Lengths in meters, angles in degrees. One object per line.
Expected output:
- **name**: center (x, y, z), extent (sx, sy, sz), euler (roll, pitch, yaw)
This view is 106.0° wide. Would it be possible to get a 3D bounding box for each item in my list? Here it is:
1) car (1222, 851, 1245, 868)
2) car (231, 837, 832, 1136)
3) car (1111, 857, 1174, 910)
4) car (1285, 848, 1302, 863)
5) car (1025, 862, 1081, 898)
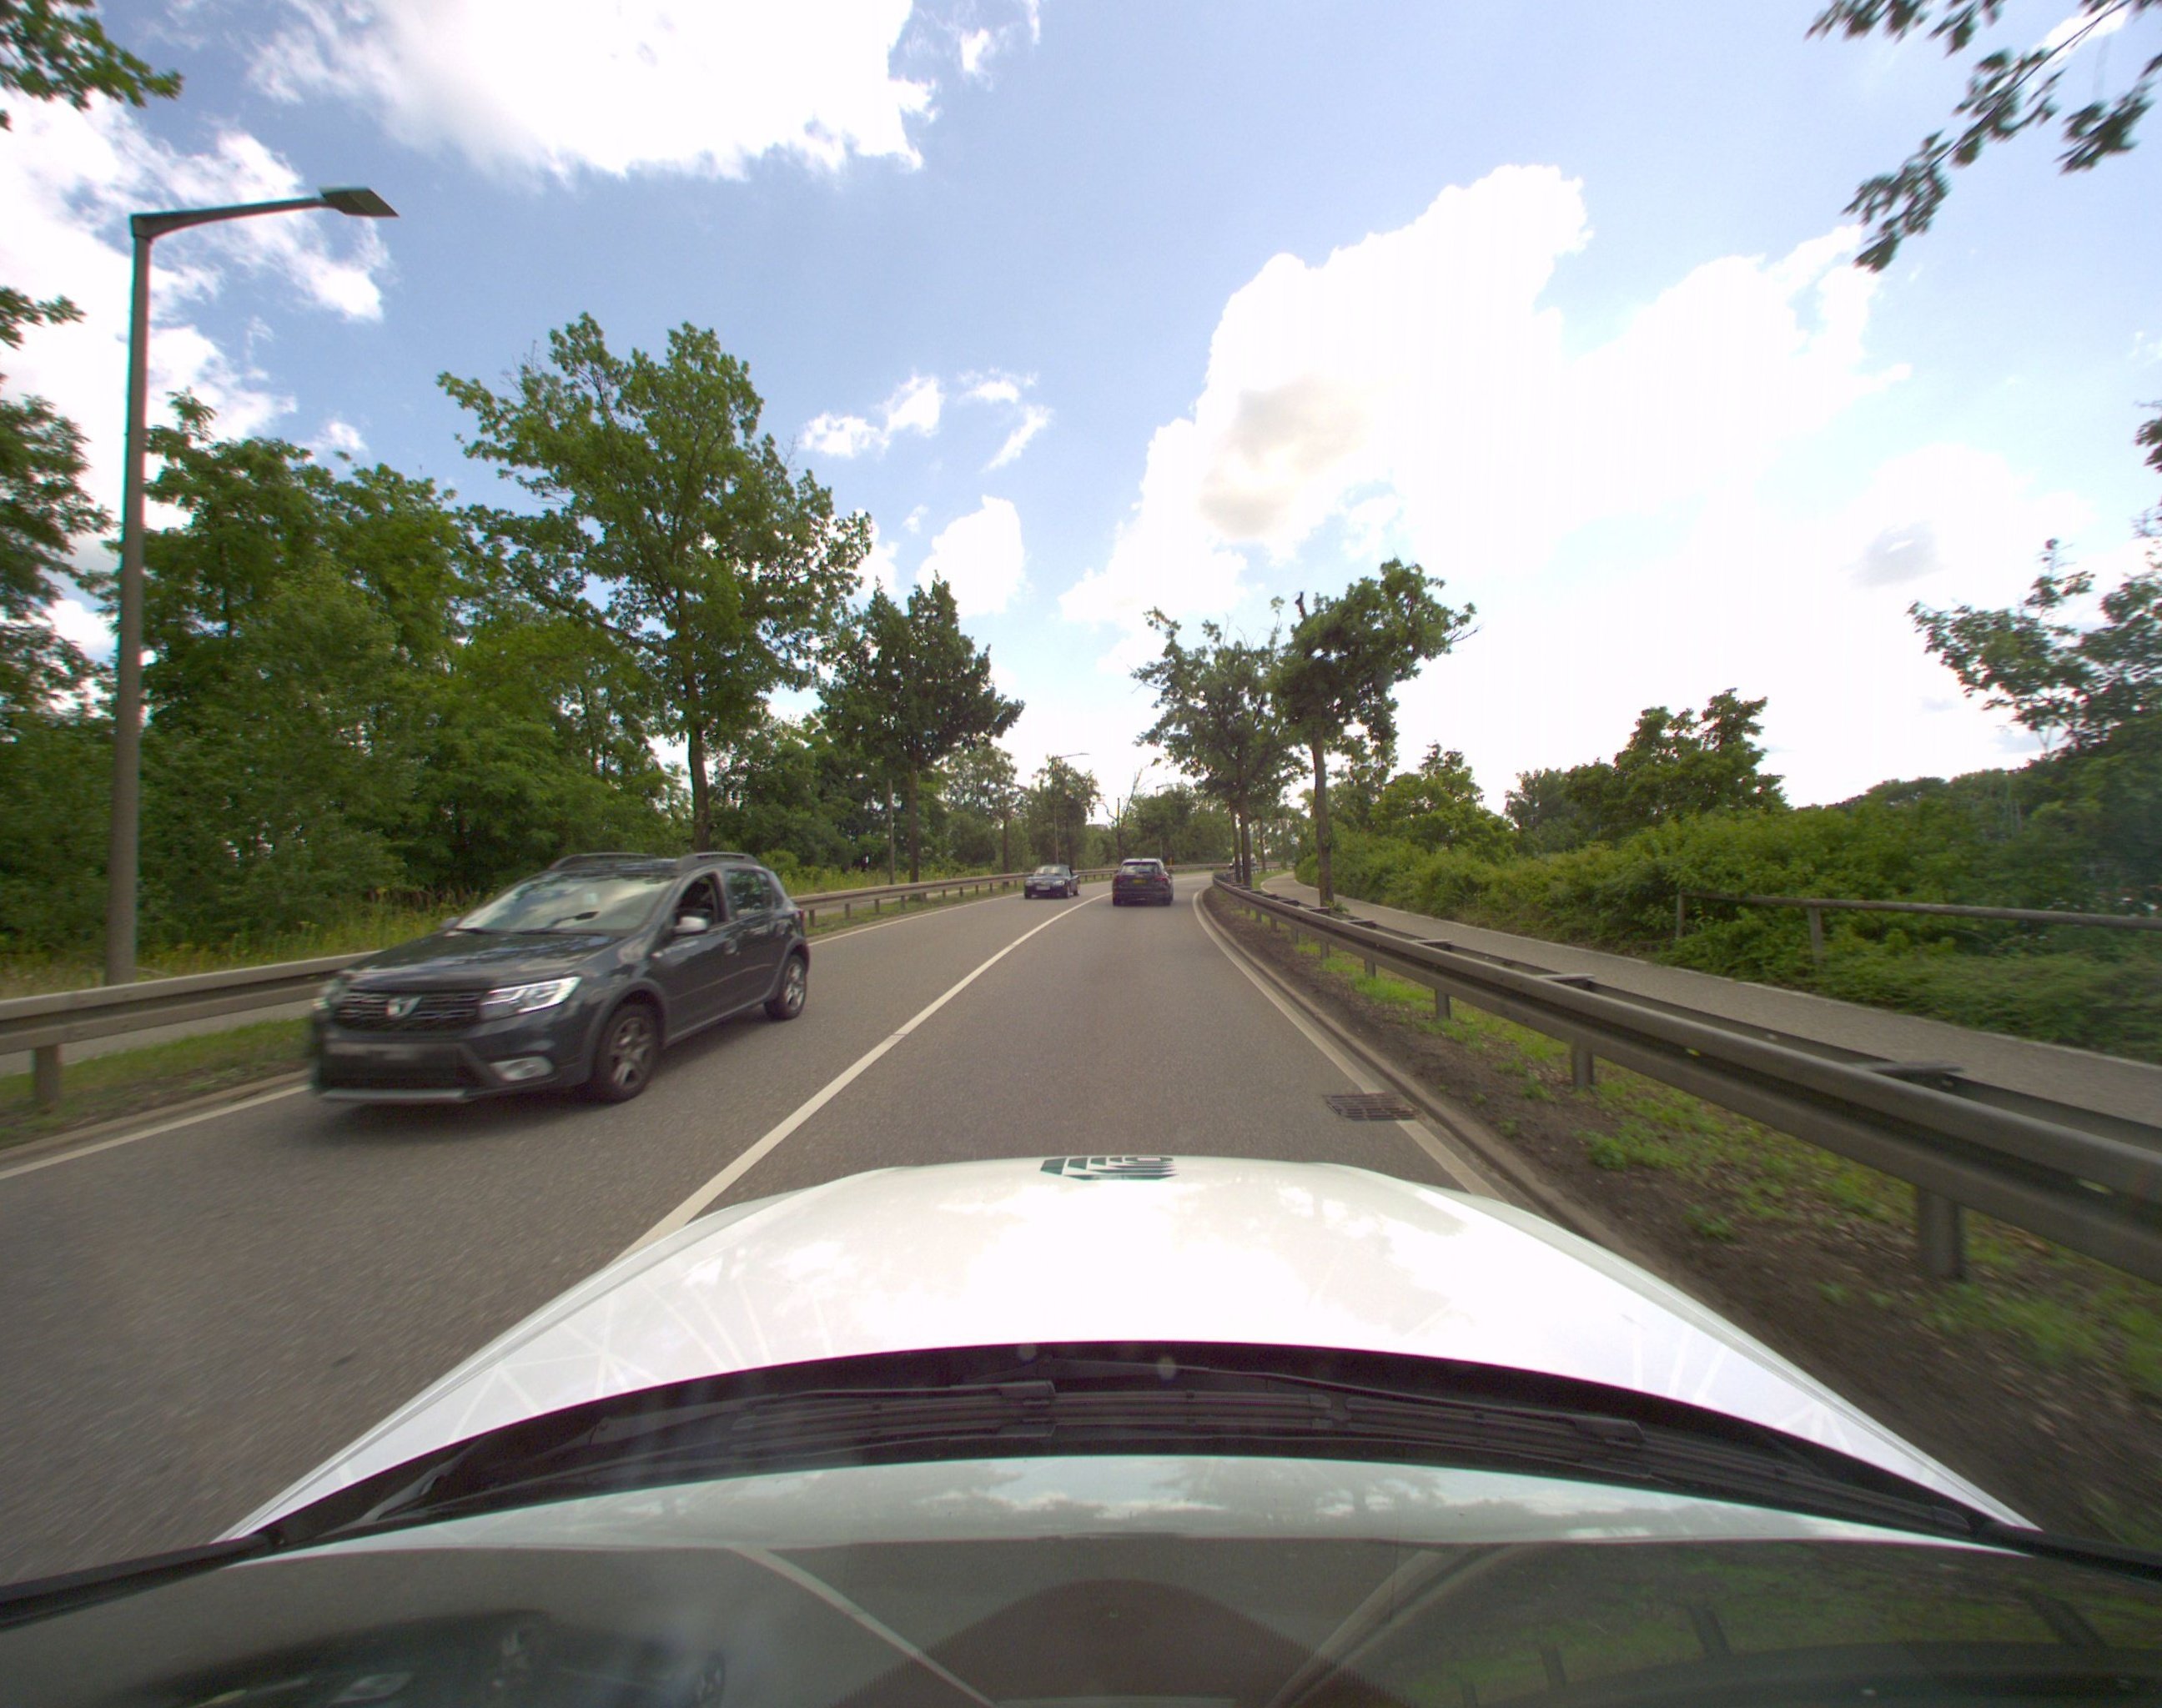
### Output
- **car**: center (15.256, 0.553, 81.307), extent (1.838, 1.709, 4.331), euler (0, 0, 17)
- **car**: center (-3.635, 0.723, 6.500), extent (1.773, 1.607, 4.162), euler (-1, 0, 3)
- **car**: center (1.969, 0.880, 26.057), extent (1.819, 1.491, 4.211), euler (-1, 0, 4)
- **car**: center (23.336, 0.140, 89.366), extent (1.566, 1.520, 4.018), euler (-2, 0, 17)
- **car**: center (-0.996, 0.941, 30.617), extent (1.585, 1.218, 3.796), euler (-1, 0, 5)
